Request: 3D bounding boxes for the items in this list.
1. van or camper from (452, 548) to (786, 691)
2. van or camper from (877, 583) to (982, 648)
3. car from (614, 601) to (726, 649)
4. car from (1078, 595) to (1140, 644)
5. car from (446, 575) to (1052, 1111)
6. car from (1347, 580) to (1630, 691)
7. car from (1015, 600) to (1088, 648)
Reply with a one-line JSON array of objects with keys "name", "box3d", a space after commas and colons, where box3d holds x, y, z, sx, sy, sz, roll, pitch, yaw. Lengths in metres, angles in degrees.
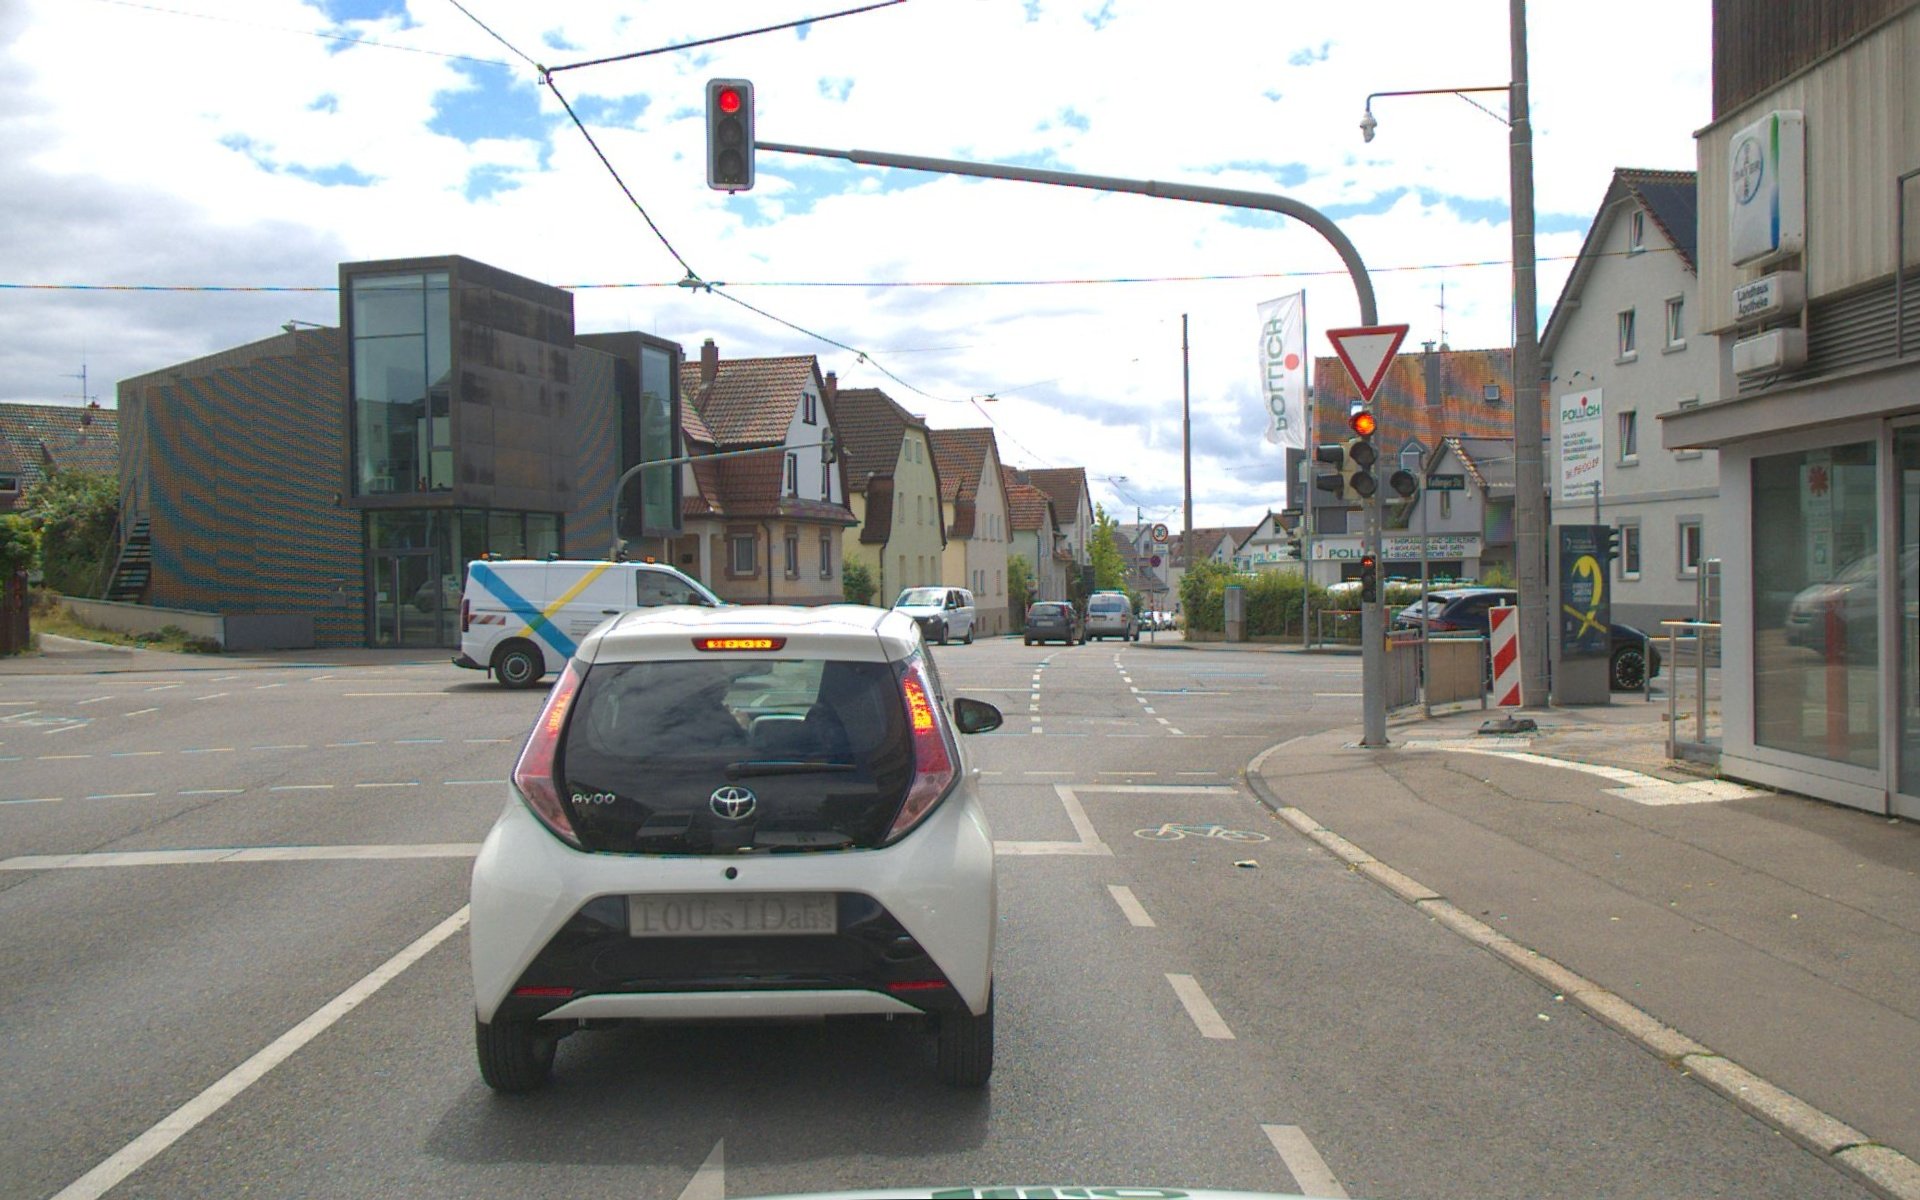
[{"name": "van or camper", "box3d": [-5.390, 0.312, 26.550, 5.024, 2.113, 1.995, 1, 0, -10]}, {"name": "van or camper", "box3d": [-0.928, 0.482, 53.642, 2.070, 1.959, 5.289, 1, 0, 14]}, {"name": "car", "box3d": [-10.277, 0.875, 58.702, 3.537, 1.633, 1.693, 1, 0, 11]}, {"name": "car", "box3d": [6.012, 0.761, 66.280, 1.951, 1.881, 4.076, 1, 0, 12]}, {"name": "car", "box3d": [-0.654, 0.679, 6.267, 1.663, 1.482, 3.297, 1, 0, -3]}, {"name": "car", "box3d": [9.381, 0.584, 29.528, 4.417, 1.773, 1.996, -1, 2, -10]}, {"name": "car", "box3d": [3.134, 0.779, 55.803, 1.951, 1.512, 4.003, 1, 0, 10]}]
